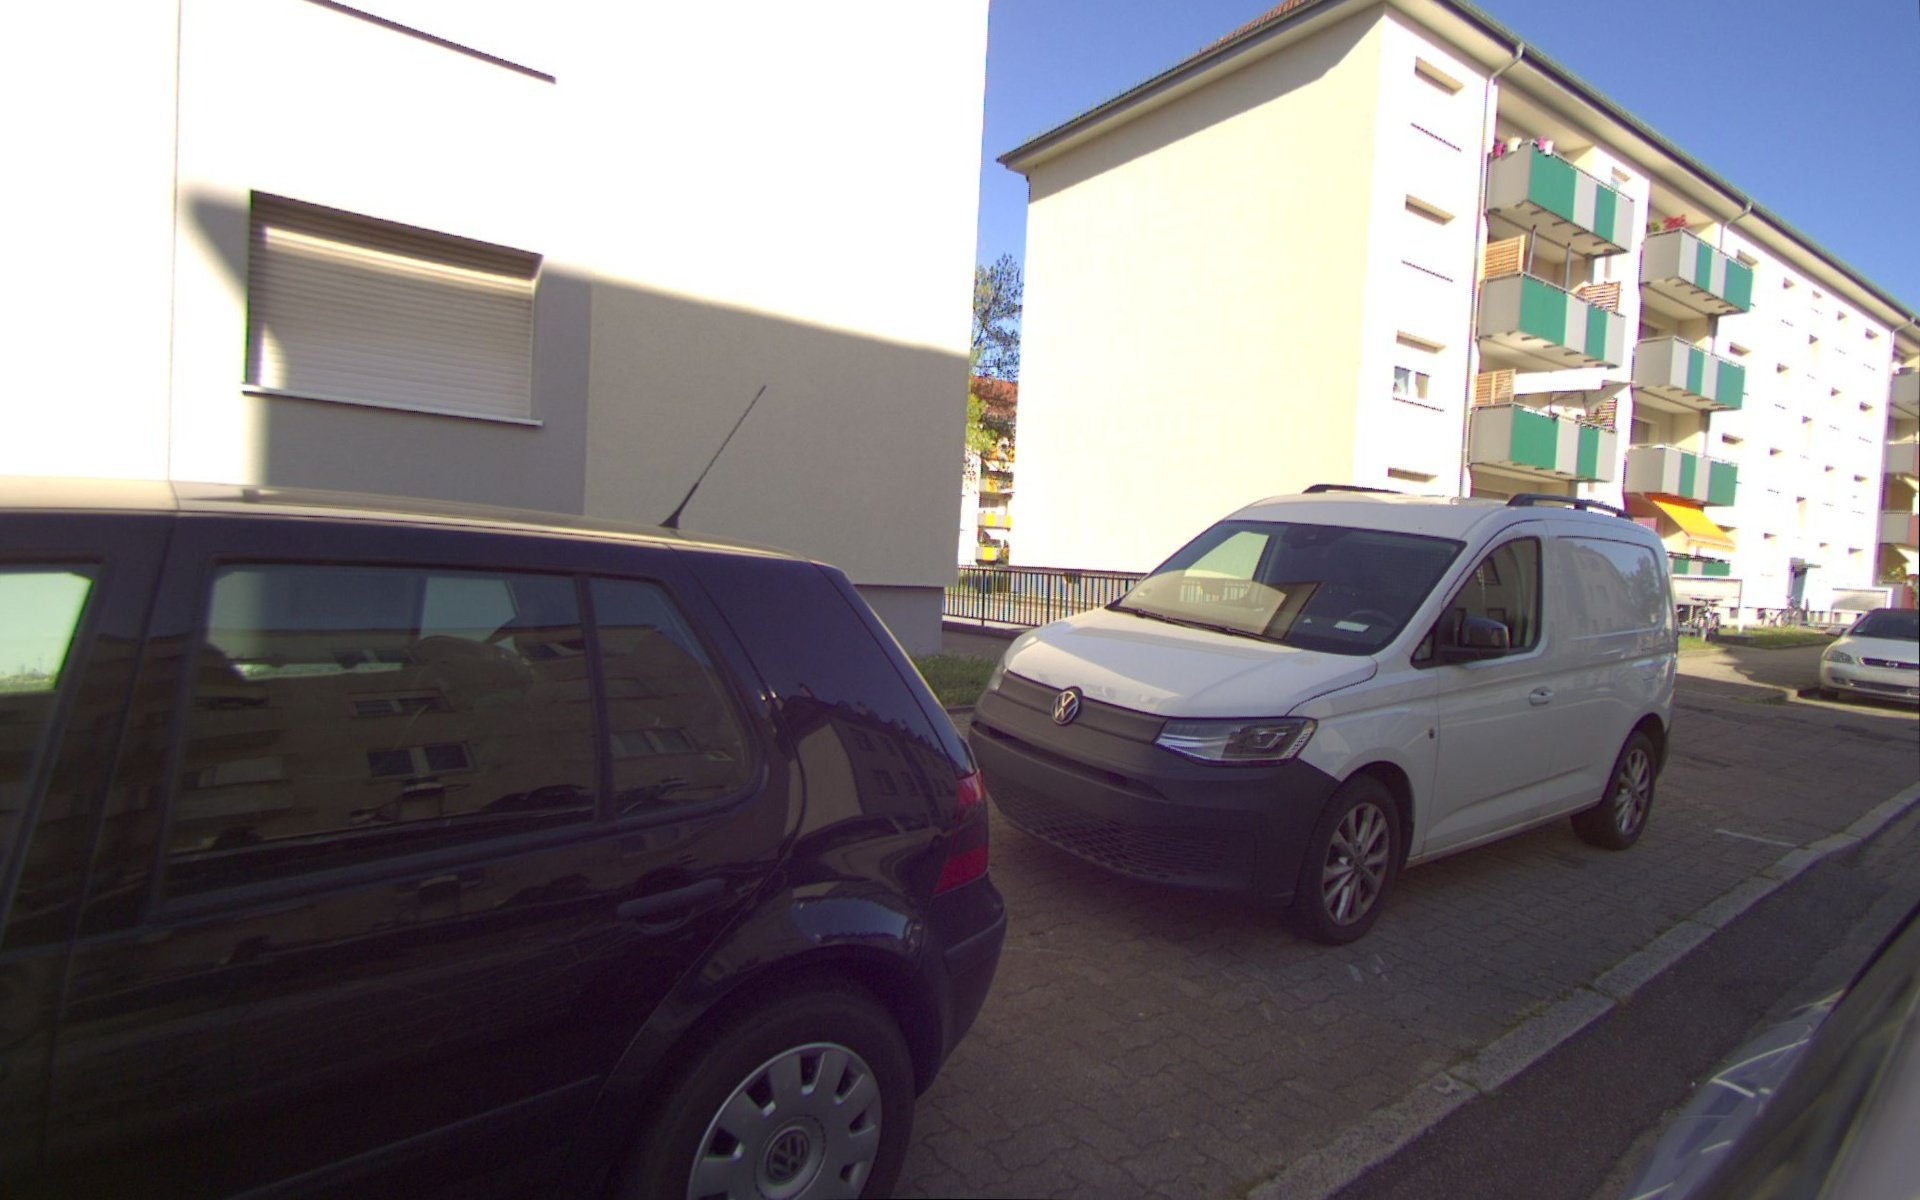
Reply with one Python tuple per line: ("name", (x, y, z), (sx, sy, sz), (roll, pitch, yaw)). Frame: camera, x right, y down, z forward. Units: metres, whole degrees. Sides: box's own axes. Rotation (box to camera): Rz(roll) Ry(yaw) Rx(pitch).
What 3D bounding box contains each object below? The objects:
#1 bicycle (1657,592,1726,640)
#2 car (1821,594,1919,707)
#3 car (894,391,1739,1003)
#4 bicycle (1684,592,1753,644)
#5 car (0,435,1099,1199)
("bicycle", (16.686, 0.364, 23.083), (2.033, 1.057, 0.507), (1, 1, -32))
("car", (14.362, 0.717, 14.990), (4.238, 1.423, 1.746), (1, 5, -41))
("car", (2.065, 0.239, 5.144), (4.456, 1.867, 1.804), (1, 5, -38))
("bicycle", (16.936, 0.400, 22.583), (2.033, 1.106, 0.507), (1, 1, -32))
("car", (-1.849, 0.447, 1.536), (3.977, 1.431, 1.803), (1, 5, -40))
